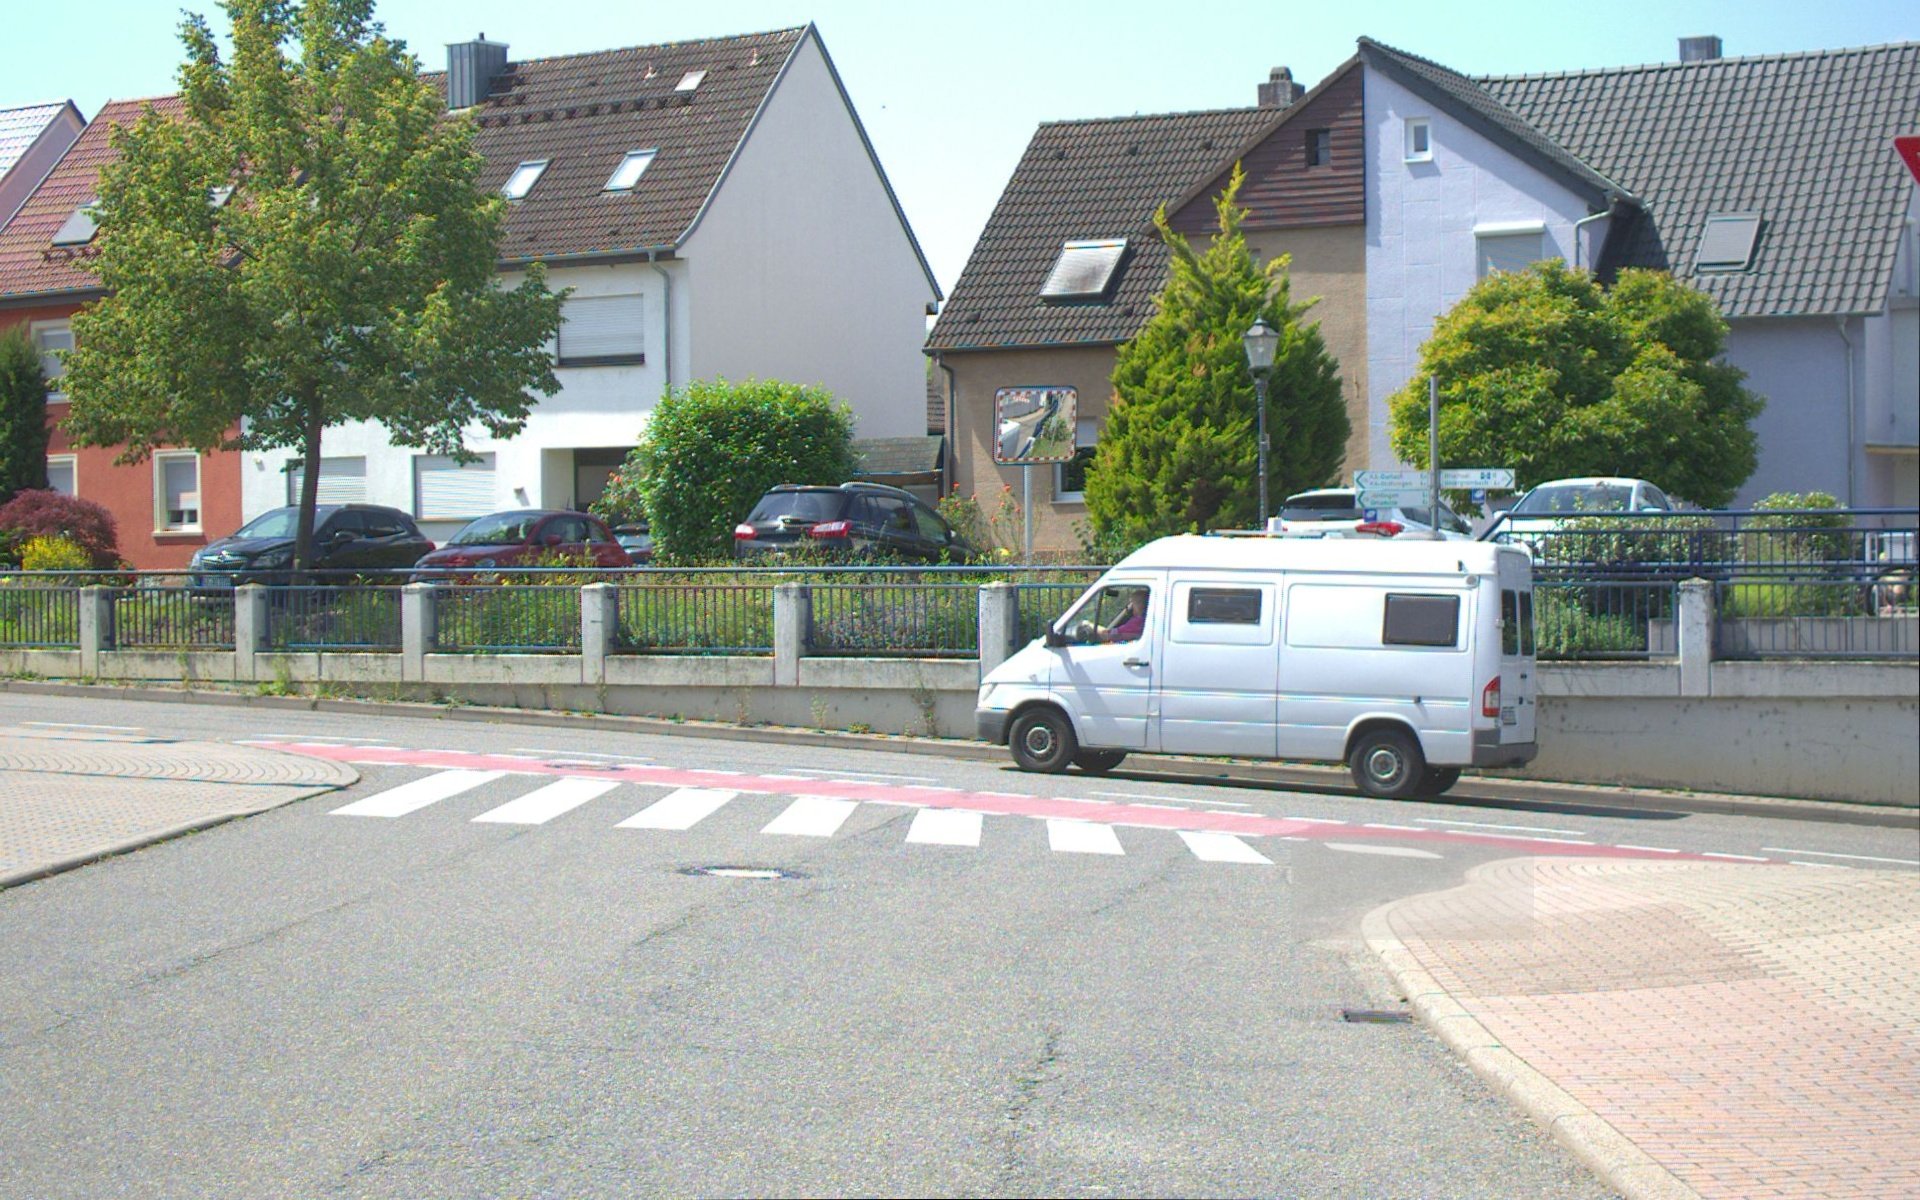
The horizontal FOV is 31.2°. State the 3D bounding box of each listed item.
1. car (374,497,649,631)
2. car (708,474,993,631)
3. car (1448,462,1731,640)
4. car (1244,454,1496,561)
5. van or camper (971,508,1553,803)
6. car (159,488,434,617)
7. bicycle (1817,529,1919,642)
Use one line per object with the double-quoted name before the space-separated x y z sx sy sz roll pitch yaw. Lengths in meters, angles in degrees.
"car" -5.940 -0.461 45.888 1.870 1.581 3.604 4 1 26
"car" -1.339 -0.574 43.887 1.870 1.791 3.994 4 1 26
"car" 7.232 -0.518 39.152 1.996 1.791 4.190 4 1 26
"car" 4.837 -1.066 40.237 1.828 1.016 3.454 4 1 26
"van or camper" 3.036 0.529 34.604 5.382 2.621 2.002 3 -1 22
"car" -9.196 -0.642 47.885 1.870 1.581 3.604 4 1 26
"bicycle" 9.701 -0.148 34.469 2.117 1.122 0.332 1 1 20
